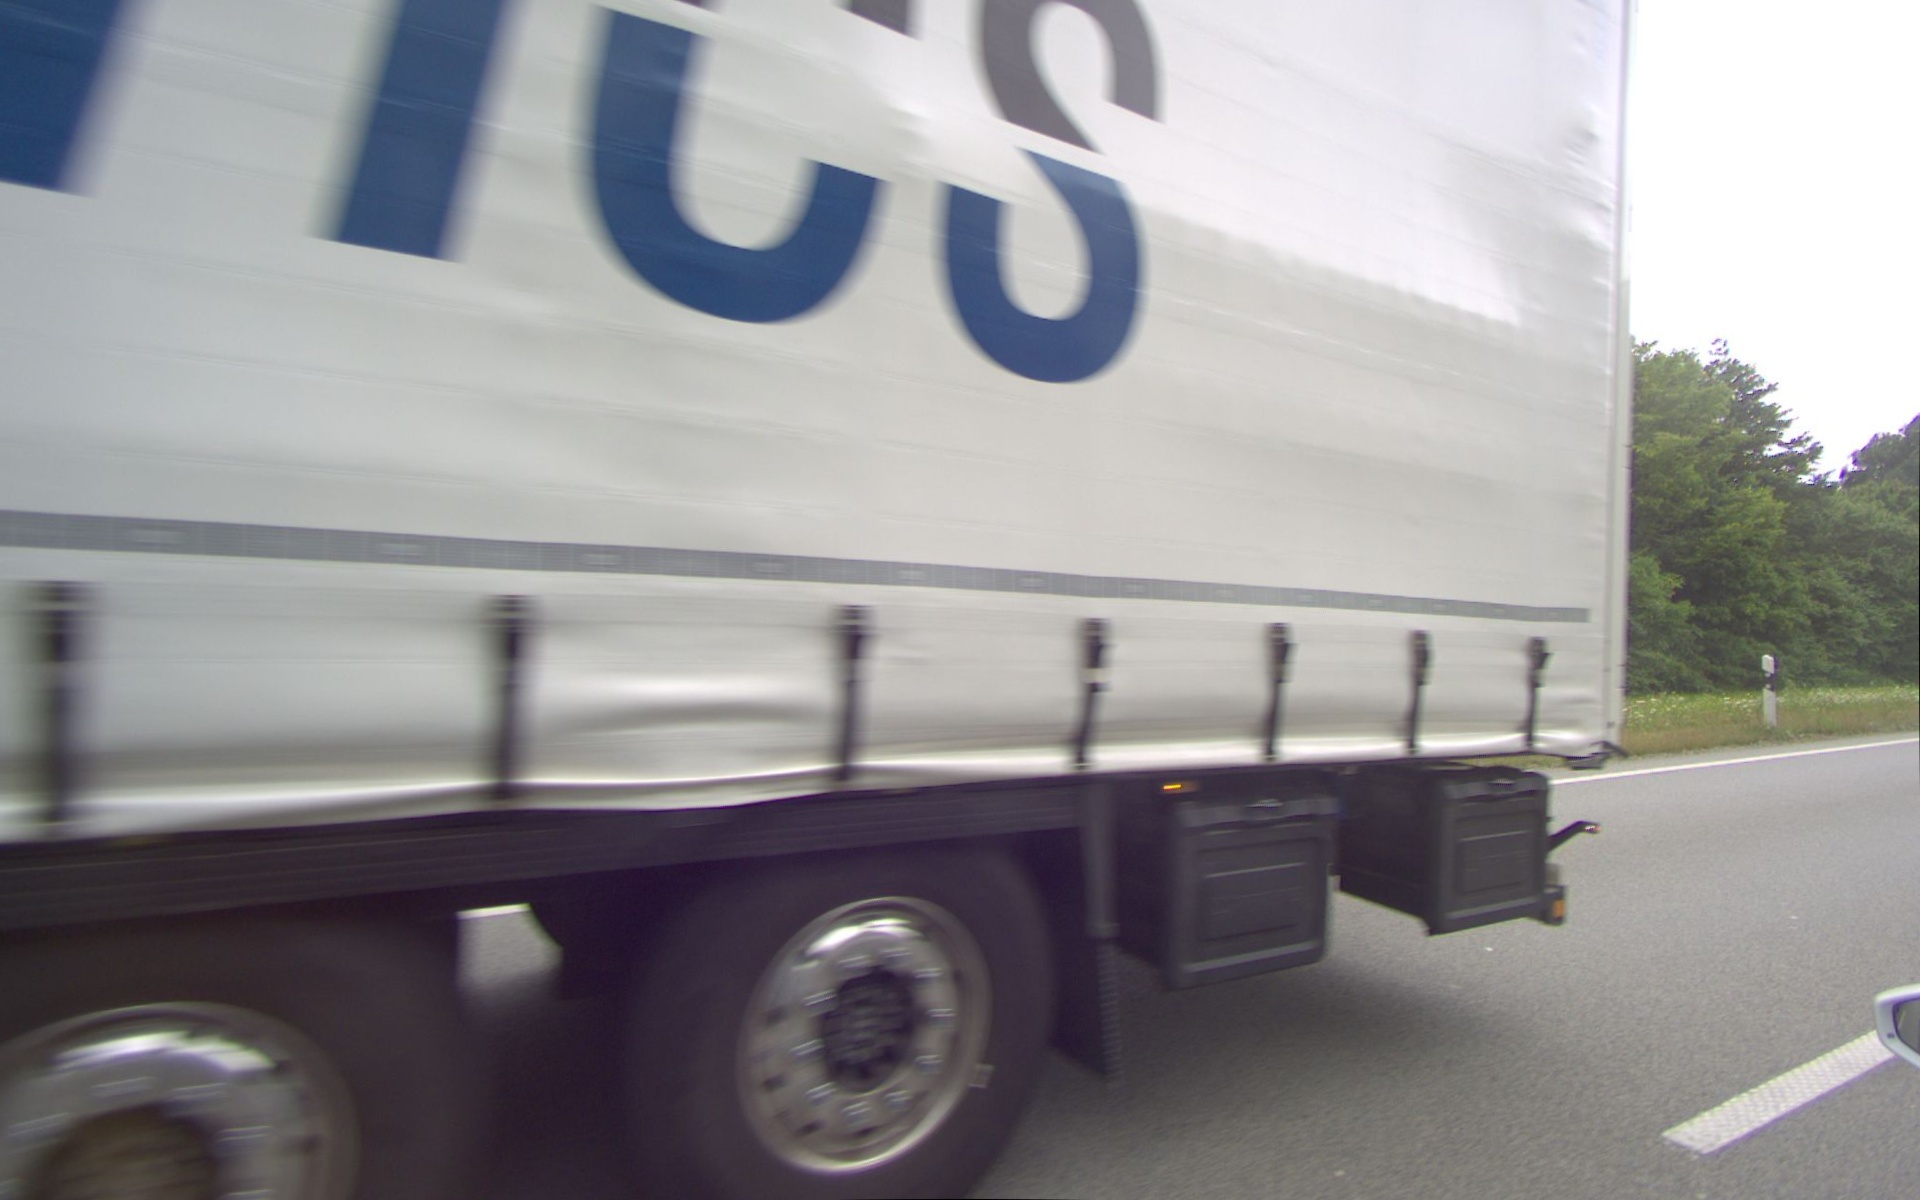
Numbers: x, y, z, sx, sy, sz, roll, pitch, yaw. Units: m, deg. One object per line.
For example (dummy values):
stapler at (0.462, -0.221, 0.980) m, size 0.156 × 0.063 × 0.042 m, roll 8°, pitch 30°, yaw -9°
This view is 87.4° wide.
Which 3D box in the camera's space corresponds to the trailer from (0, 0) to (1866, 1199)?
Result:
trailer at (-2.945, -0.765, 2.213) m, size 14.105 × 4.121 × 3.188 m, roll 2°, pitch 0°, yaw -30°
